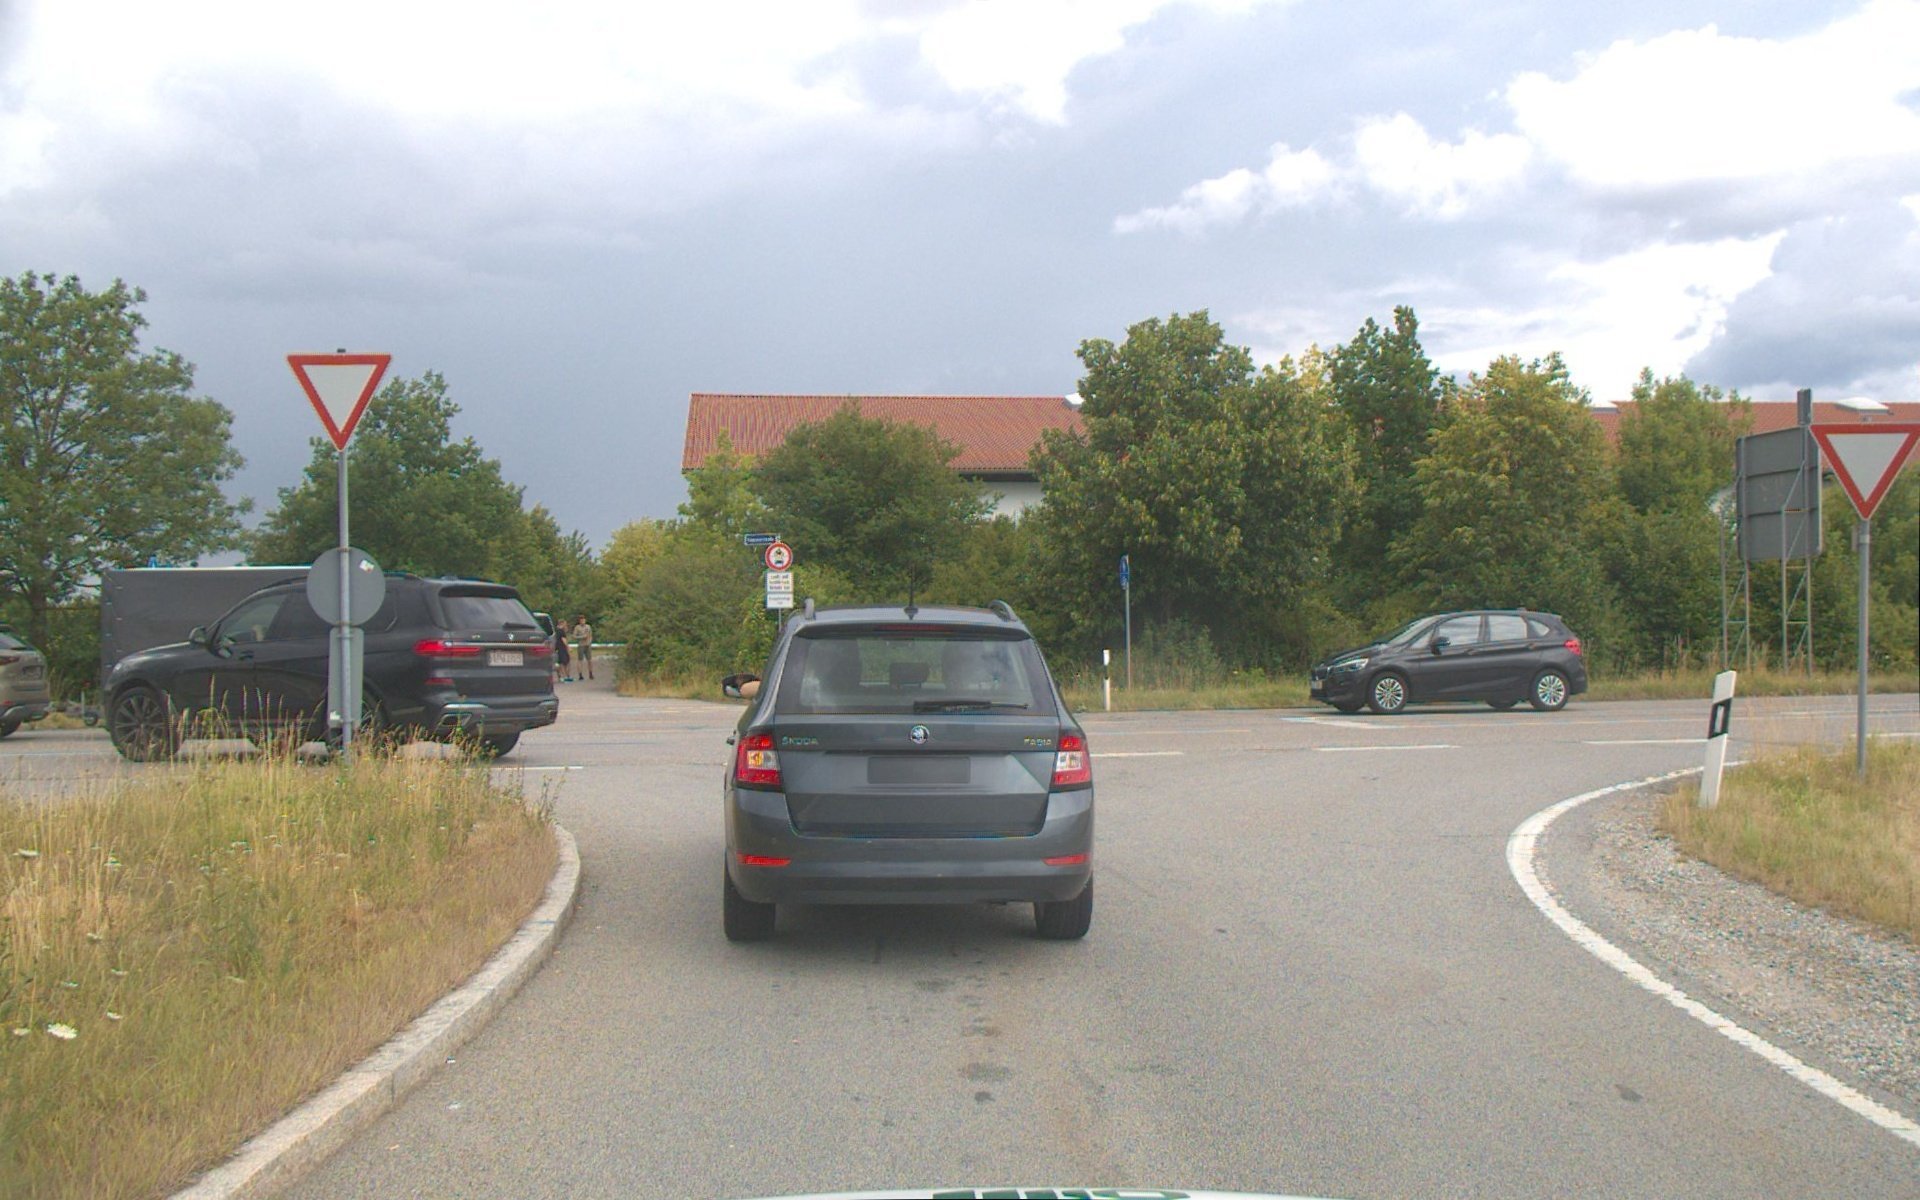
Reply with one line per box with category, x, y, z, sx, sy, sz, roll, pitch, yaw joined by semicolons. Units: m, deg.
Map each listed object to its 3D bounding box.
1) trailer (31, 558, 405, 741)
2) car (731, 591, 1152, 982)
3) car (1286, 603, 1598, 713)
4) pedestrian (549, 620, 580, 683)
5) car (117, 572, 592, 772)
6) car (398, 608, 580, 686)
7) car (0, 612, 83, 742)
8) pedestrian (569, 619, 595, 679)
trailer;-10.309;0.669;23.372;4.302;2.333;2.411;-1;-1;-10
car;-0.287;0.727;8.256;1.644;1.488;3.701;0;-1;-7
car;7.476;0.873;25.860;4.208;1.513;1.996;-2;-1;-9
pedestrian;-11.183;1.452;46.773;0.519;1.756;0.640;-1;1;30
car;-6.192;0.698;16.864;4.538;1.806;1.998;-1;-1;26
car;-13.475;1.332;47.253;4.809;2.049;2.337;-1;1;31
car;-14.616;1.088;22.410;4.384;1.712;1.994;-1;-1;-11
pedestrian;-11.052;1.424;48.381;0.577;1.712;0.560;-2;1;-30
